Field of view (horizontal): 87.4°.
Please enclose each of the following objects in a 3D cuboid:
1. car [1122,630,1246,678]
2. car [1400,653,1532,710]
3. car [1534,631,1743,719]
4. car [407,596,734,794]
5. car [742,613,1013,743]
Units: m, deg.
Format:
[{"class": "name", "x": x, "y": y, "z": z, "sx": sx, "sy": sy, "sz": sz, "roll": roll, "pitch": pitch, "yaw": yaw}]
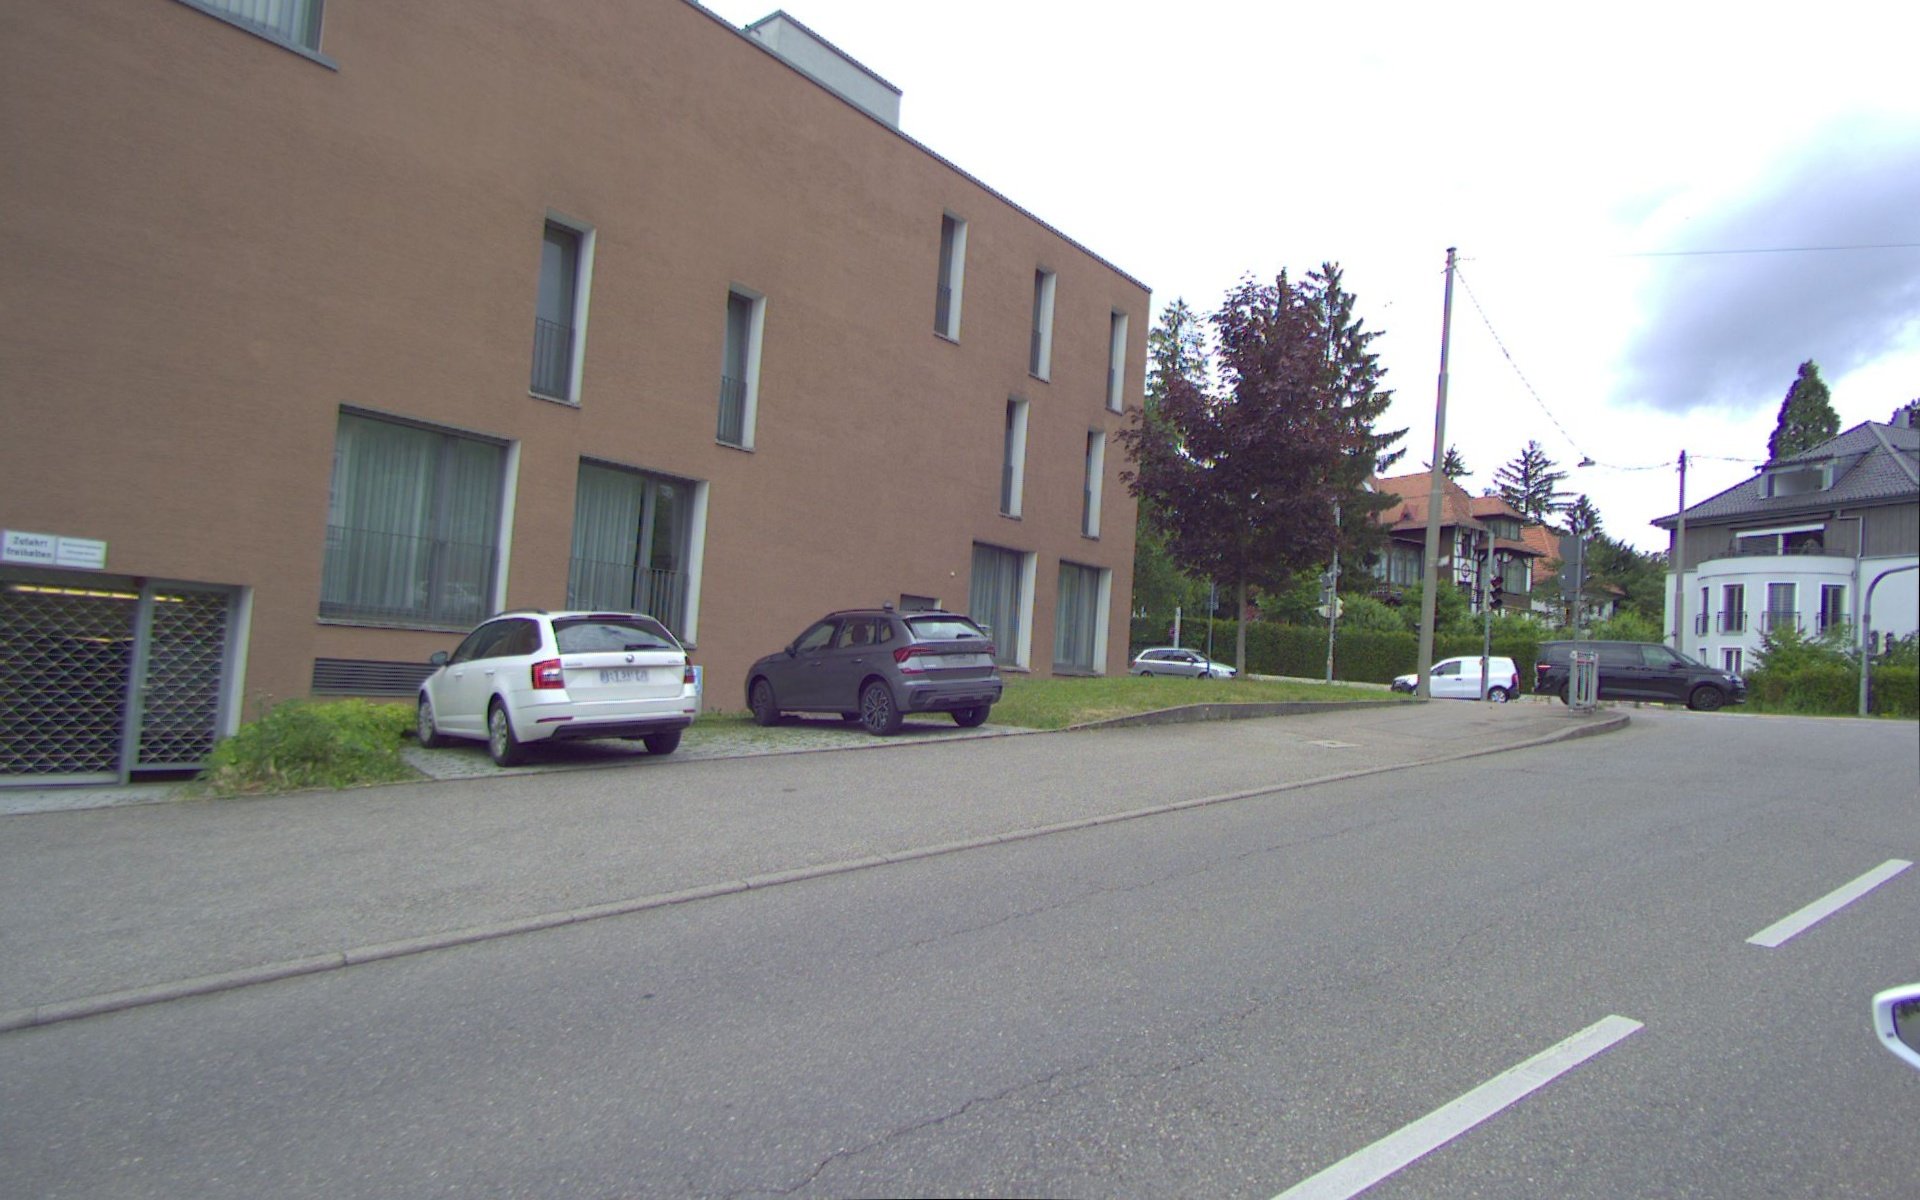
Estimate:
[{"class": "car", "x": 8.273, "y": 1.951, "z": 37.283, "sx": 4.132, "sy": 1.496, "sz": 1.705, "roll": 2, "pitch": 1, "yaw": 40}, {"class": "car", "x": 19.226, "y": 3.071, "z": 38.389, "sx": 4.268, "sy": 1.882, "sz": 2.000, "roll": 1, "pitch": -1, "yaw": 21}, {"class": "car", "x": 19.083, "y": 2.036, "z": 28.472, "sx": 4.700, "sy": 2.040, "sz": 1.994, "roll": 2, "pitch": 1, "yaw": 34}, {"class": "car", "x": -4.274, "y": 0.890, "z": 10.624, "sx": 1.997, "sy": 1.644, "sz": 4.226, "roll": 3, "pitch": -4, "yaw": -39}, {"class": "car", "x": -1.217, "y": 0.954, "z": 13.476, "sx": 1.719, "sy": 1.483, "sz": 3.725, "roll": 1, "pitch": -2, "yaw": -42}]
